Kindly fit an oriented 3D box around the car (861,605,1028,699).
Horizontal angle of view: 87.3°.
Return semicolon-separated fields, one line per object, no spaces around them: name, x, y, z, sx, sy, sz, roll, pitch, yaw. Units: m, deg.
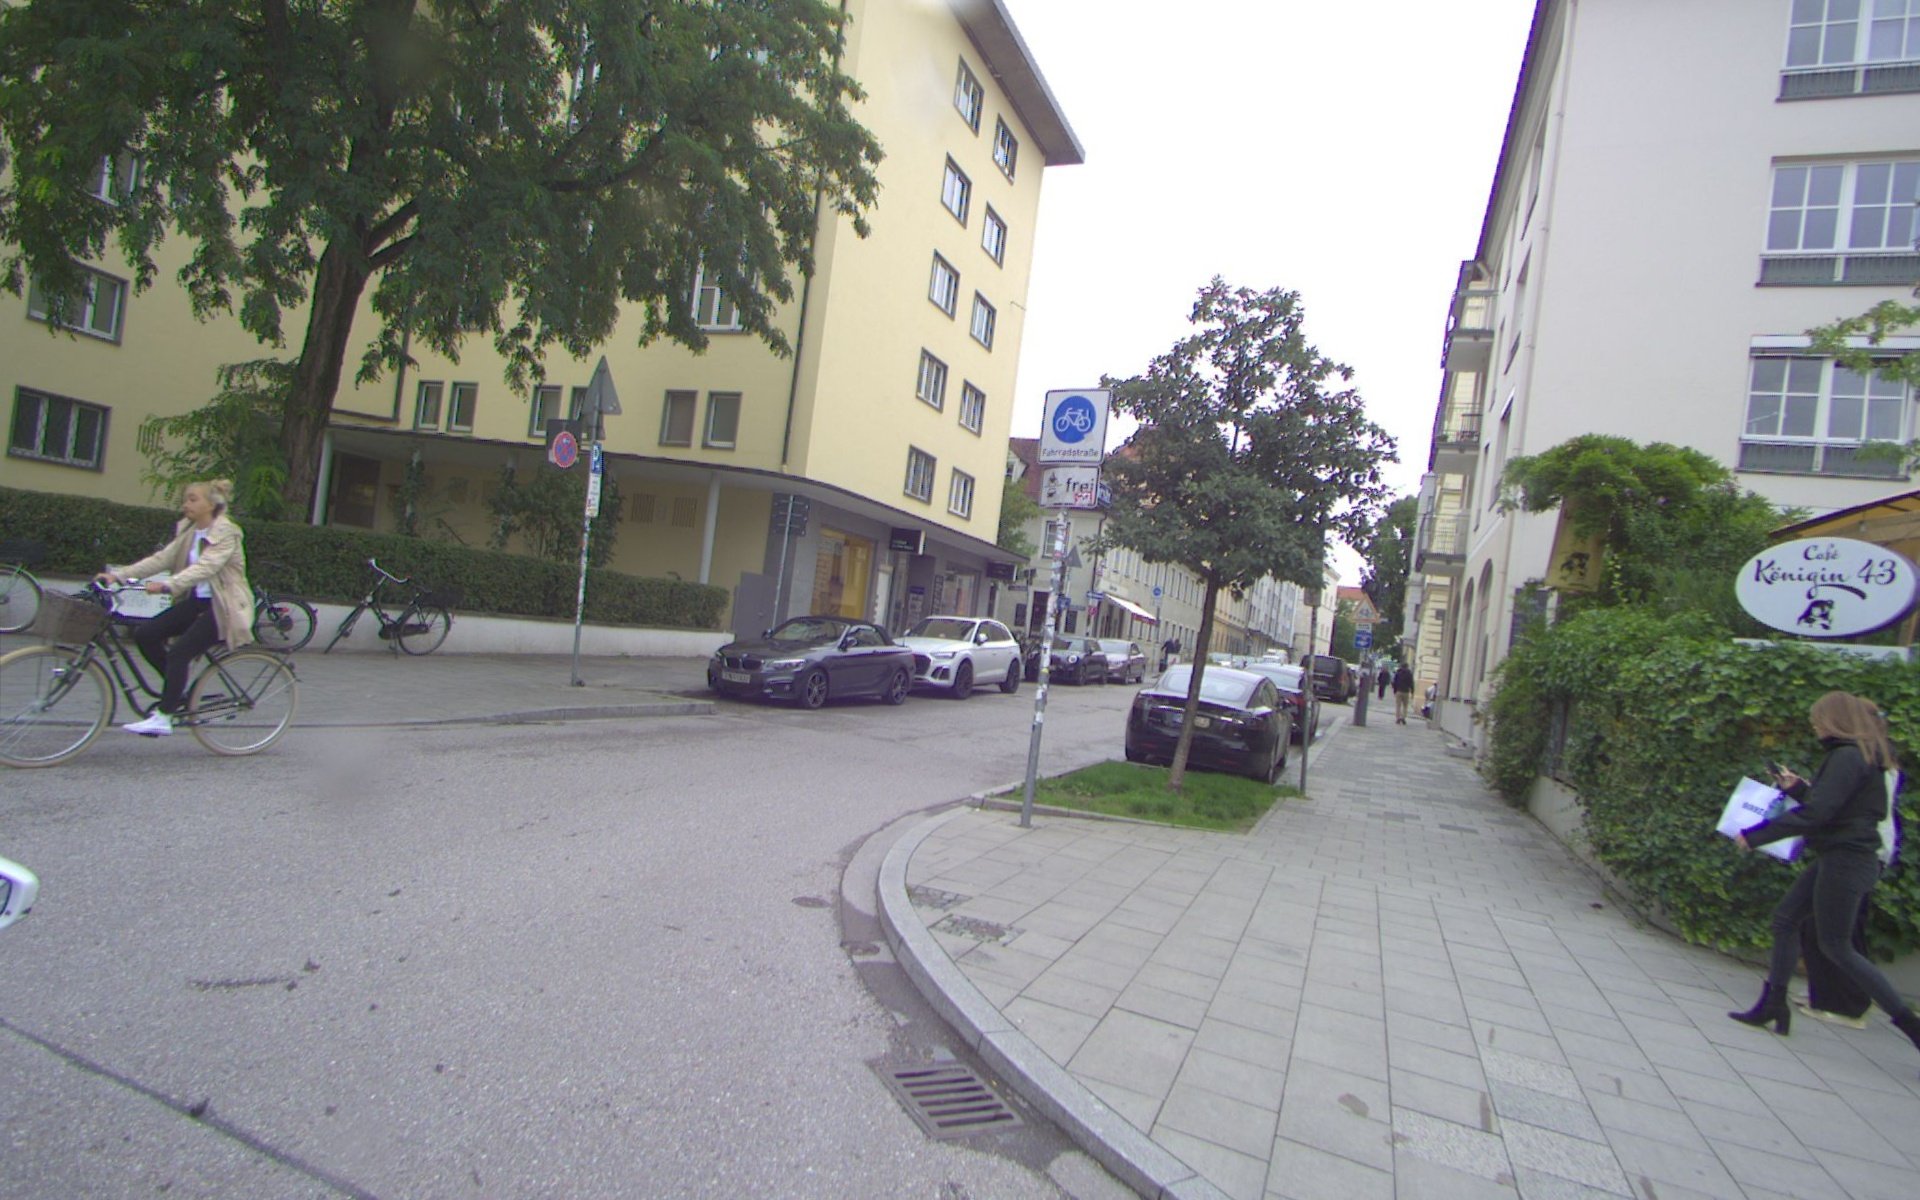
car;-0.197;1.077;21.367;1.825;1.682;4.317;4;-1;24

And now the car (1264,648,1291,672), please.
car;25.827;4.893;81.716;1.756;1.682;4.001;7;-1;20

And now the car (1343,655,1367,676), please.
car;33.113;5.489;84.396;1.673;1.526;3.999;7;0;22

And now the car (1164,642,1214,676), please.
car;11.379;2.940;49.798;1.710;1.439;4.001;7;-1;22

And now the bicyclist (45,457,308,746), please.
bicyclist;-5.029;0.026;6.508;0.684;1.676;1.006;7;0;27

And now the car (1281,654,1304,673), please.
car;33.433;6.372;101.218;1.742;1.616;3.998;8;0;22

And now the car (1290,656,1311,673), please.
car;37.754;7.144;111.476;1.742;1.616;3.998;8;0;22

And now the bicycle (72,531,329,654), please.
bicycle;-8.546;-0.050;11.424;0.631;1.129;2.166;7;-1;40

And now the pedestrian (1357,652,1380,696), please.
pedestrian;20.120;3.653;49.547;0.773;2.038;0.832;7;0;18

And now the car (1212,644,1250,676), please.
car;16.914;3.761;62.702;1.756;1.682;4.001;7;-1;20

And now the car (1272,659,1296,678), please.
car;30.907;6.495;95.827;1.673;1.526;3.998;7;0;23

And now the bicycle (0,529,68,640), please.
bicycle;-10.413;-0.234;10.184;1.924;1.098;0.526;6;0;-24

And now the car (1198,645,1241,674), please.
car;15.090;3.473;58.357;1.757;1.431;4.000;7;-1;22

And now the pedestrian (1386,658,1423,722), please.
pedestrian;12.885;2.607;29.171;0.774;1.735;0.831;7;0;23

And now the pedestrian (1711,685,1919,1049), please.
pedestrian;4.552;1.312;5.294;0.817;1.626;0.806;6;0;38

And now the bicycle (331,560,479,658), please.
bicycle;-7.255;0.149;13.233;0.452;1.144;1.687;7;-1;22

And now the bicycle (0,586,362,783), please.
bicycle;-5.096;0.528;6.515;0.673;1.036;1.966;7;-1;27

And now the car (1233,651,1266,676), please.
car;19.404;4.237;67.377;1.662;1.426;3.999;7;0;20

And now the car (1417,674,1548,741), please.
car;16.389;3.355;31.726;3.419;1.548;1.576;7;0;25

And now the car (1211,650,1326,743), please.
car;6.586;1.985;21.205;1.693;1.548;3.999;7;-1;24

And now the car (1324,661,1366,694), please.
car;21.541;4.276;56.241;1.797;1.536;4.237;7;0;24

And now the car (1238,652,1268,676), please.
car;20.872;4.516;71.538;1.662;1.426;3.502;7;0;20

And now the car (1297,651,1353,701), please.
car;15.530;3.236;42.714;1.787;1.796;3.999;7;-1;24

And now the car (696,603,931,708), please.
car;-2.216;0.947;16.510;1.633;1.383;4.332;4;-2;25

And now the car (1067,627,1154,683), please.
car;5.138;1.889;33.837;1.792;1.548;4.000;7;-1;23

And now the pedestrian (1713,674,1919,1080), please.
pedestrian;4.129;1.220;4.706;0.818;1.649;0.677;6;0;39

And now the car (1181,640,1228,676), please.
car;13.245;3.148;54.343;1.757;1.682;4.000;7;-1;22

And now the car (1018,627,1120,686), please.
car;3.328;1.715;30.000;1.793;1.417;3.999;7;-1;24

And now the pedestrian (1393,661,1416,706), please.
pedestrian;21.228;3.965;48.075;0.742;2.038;0.831;7;0;24

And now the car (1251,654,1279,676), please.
car;23.014;4.887;75.886;1.662;1.426;3.502;7;0;20

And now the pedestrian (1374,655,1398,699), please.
pedestrian;20.861;3.745;49.244;0.773;2.038;0.832;7;0;18

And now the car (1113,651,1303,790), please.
car;3.730;1.611;14.475;1.933;1.415;4.505;7;-1;22

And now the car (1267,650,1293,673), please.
car;27.507;5.292;86.356;1.756;1.682;4.001;7;-1;20
